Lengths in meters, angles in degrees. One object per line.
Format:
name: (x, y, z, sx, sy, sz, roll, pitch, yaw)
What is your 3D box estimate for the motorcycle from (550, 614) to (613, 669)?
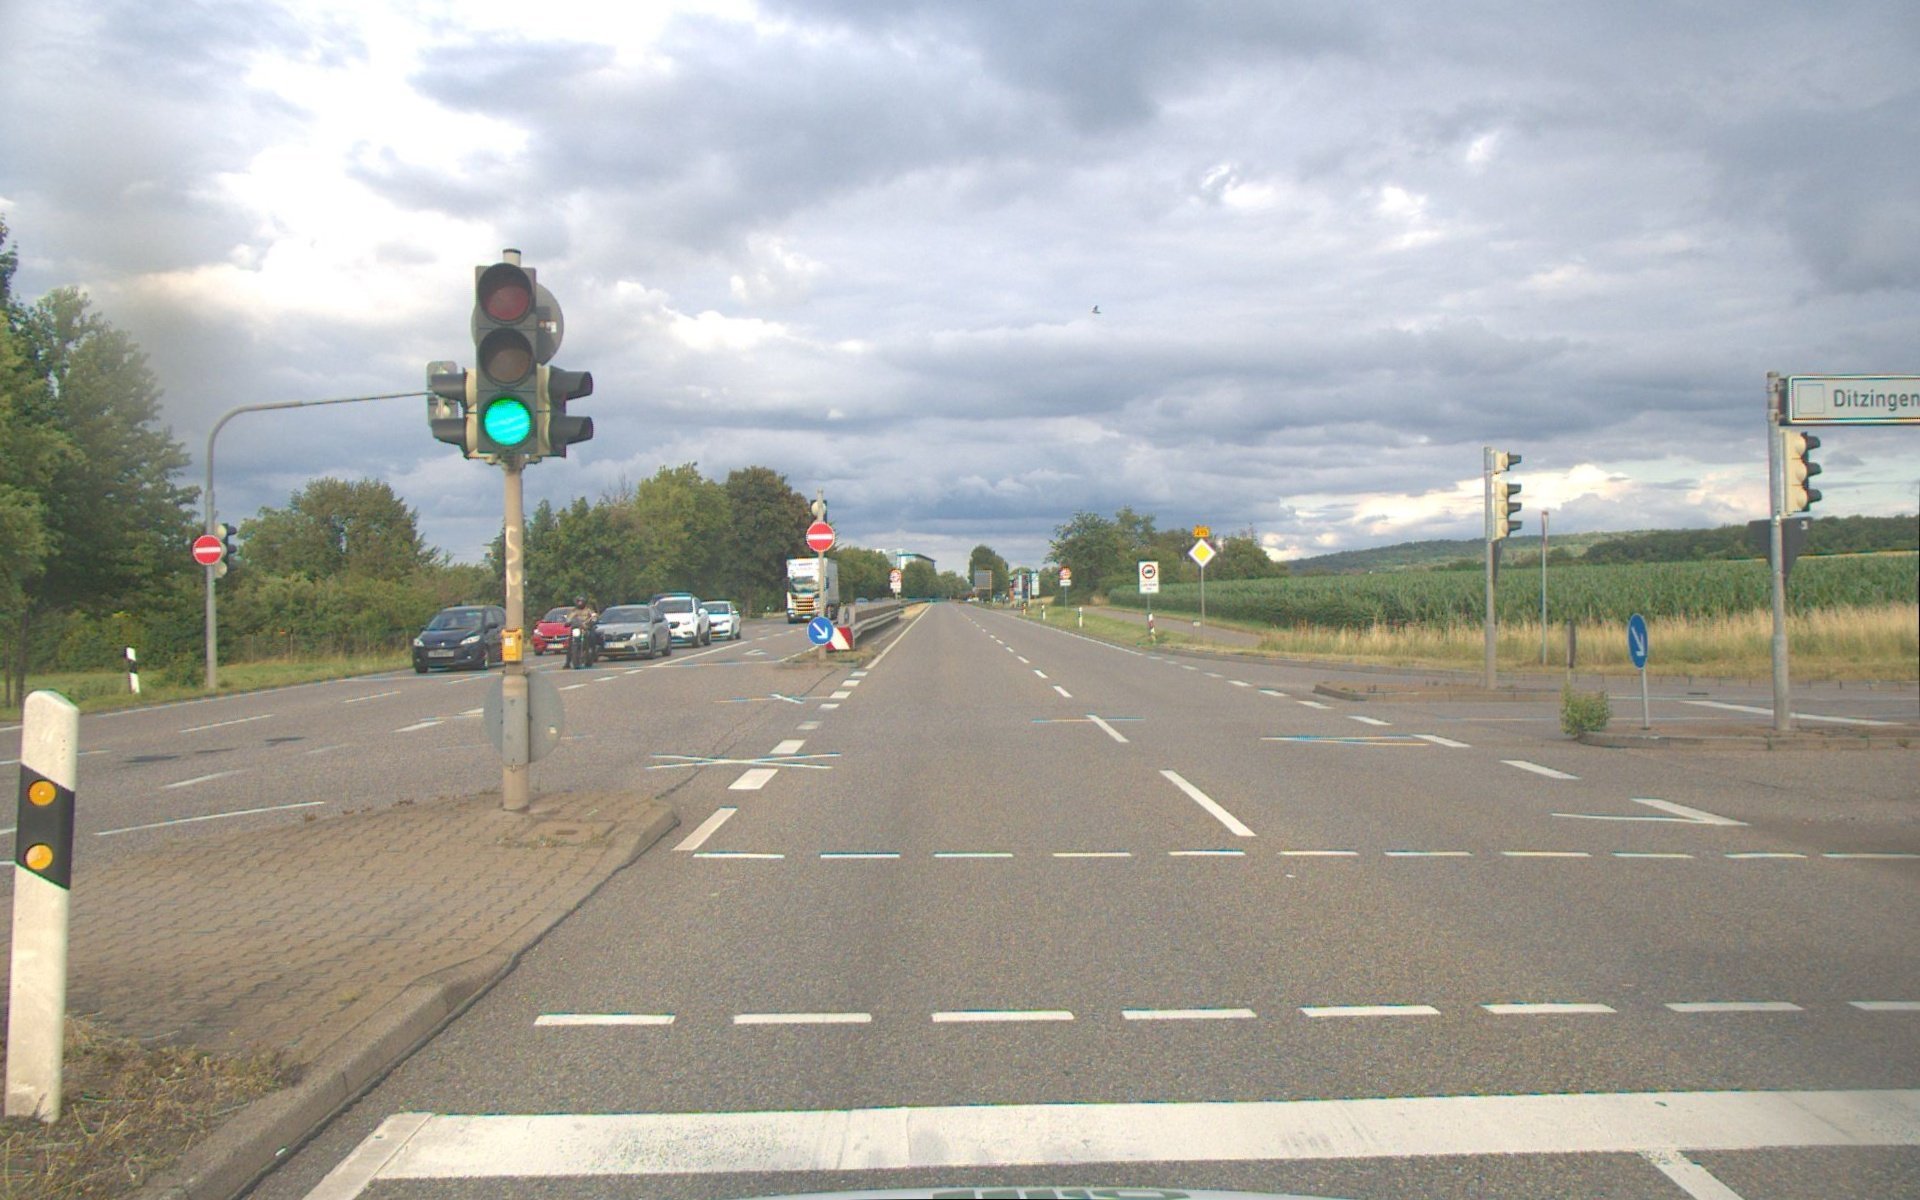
motorcycle: (-9.019, 0.978, 39.485, 0.897, 1.224, 2.478, -2, 0, 0)

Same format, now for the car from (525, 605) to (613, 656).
car: (-12.591, 0.959, 53.486, 1.869, 1.490, 4.183, -2, 0, -1)

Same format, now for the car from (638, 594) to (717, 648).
car: (-9.221, 0.664, 54.284, 1.869, 1.638, 4.404, -2, 0, -1)

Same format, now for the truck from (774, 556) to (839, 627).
truck: (-9.687, -0.512, 105.093, 3.404, 4.223, 6.048, -3, 0, -1)

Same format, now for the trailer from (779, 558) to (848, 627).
trailer: (-9.772, -0.500, 111.687, 3.395, 4.223, 13.914, -3, 0, -1)

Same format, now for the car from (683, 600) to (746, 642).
car: (-9.236, 0.765, 62.489, 1.752, 1.469, 4.159, -2, 0, -1)

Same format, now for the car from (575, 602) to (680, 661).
car: (-8.965, 0.812, 45.039, 1.869, 1.453, 5.151, -2, 0, -1)

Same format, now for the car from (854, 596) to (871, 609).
car: (-11.215, 0.320, 191.069, 1.752, 1.410, 4.159, -2, 0, -1)

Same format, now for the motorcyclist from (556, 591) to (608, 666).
motorcyclist: (-9.019, 0.677, 39.486, 0.897, 1.738, 1.276, -2, 0, -1)

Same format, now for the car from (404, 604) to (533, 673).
car: (-12.515, 0.939, 42.411, 1.869, 1.562, 4.937, -2, 0, -1)
